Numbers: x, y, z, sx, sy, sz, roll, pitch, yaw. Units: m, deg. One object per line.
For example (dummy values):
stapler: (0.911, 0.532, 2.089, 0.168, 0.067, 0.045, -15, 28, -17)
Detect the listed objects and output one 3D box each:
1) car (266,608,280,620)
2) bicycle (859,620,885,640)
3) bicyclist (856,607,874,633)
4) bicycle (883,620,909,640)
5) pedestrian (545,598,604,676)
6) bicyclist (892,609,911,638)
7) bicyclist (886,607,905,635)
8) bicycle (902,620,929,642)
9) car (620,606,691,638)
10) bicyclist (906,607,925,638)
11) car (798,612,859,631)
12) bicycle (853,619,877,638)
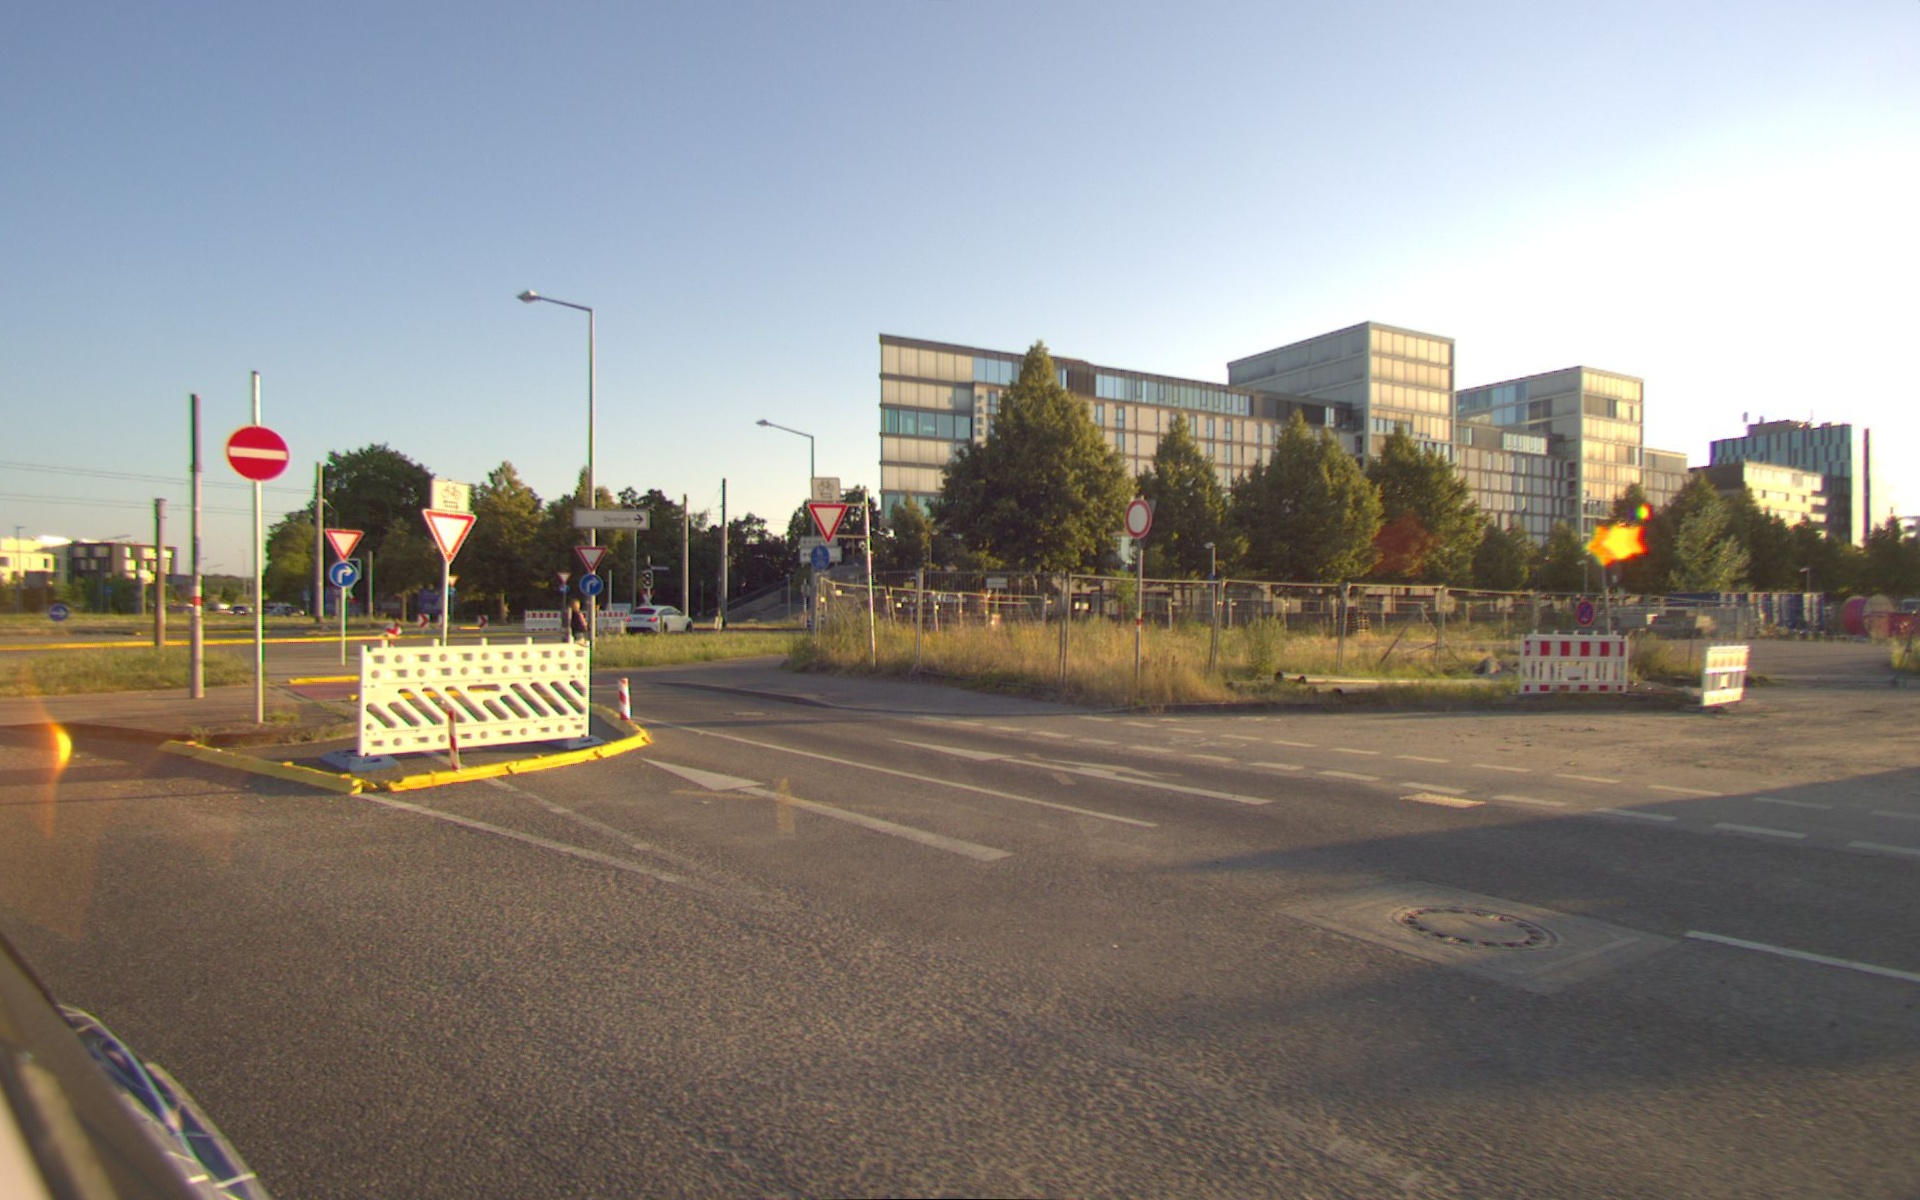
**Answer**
car: (-129.006, 2.622, 190.057, 1.966, 2.029, 4.011, 1, -1, -34)
bicycle: (-4.794, 1.619, 55.104, 0.689, 1.052, 2.086, 1, -1, -25)
bicyclist: (-5.428, 1.142, 57.807, 0.689, 1.502, 0.977, 1, -1, -25)
bicycle: (-3.506, 1.638, 55.687, 0.689, 1.052, 2.086, 1, -1, -25)
pedestrian: (-8.699, 0.822, 22.856, 0.784, 1.708, 0.917, 0, -2, 30)
bicyclist: (-3.056, 1.203, 52.848, 0.689, 1.502, 0.977, 1, -1, -21)
bicyclist: (-3.559, 1.141, 55.807, 0.689, 1.502, 0.977, 1, -1, -25)
bicycle: (-2.217, 1.540, 50.174, 0.689, 1.052, 2.086, 1, -1, -22)
car: (-14.480, 1.020, 48.402, 1.614, 1.475, 3.986, 0, 0, 11)
bicyclist: (-2.209, 1.096, 50.178, 0.689, 1.502, 0.977, 1, -1, -21)
car: (-10.639, 1.747, 82.054, 4.514, 1.432, 1.828, 1, -1, -31)
bicycle: (-5.459, 1.640, 57.850, 0.689, 1.052, 2.086, 1, -1, -25)
